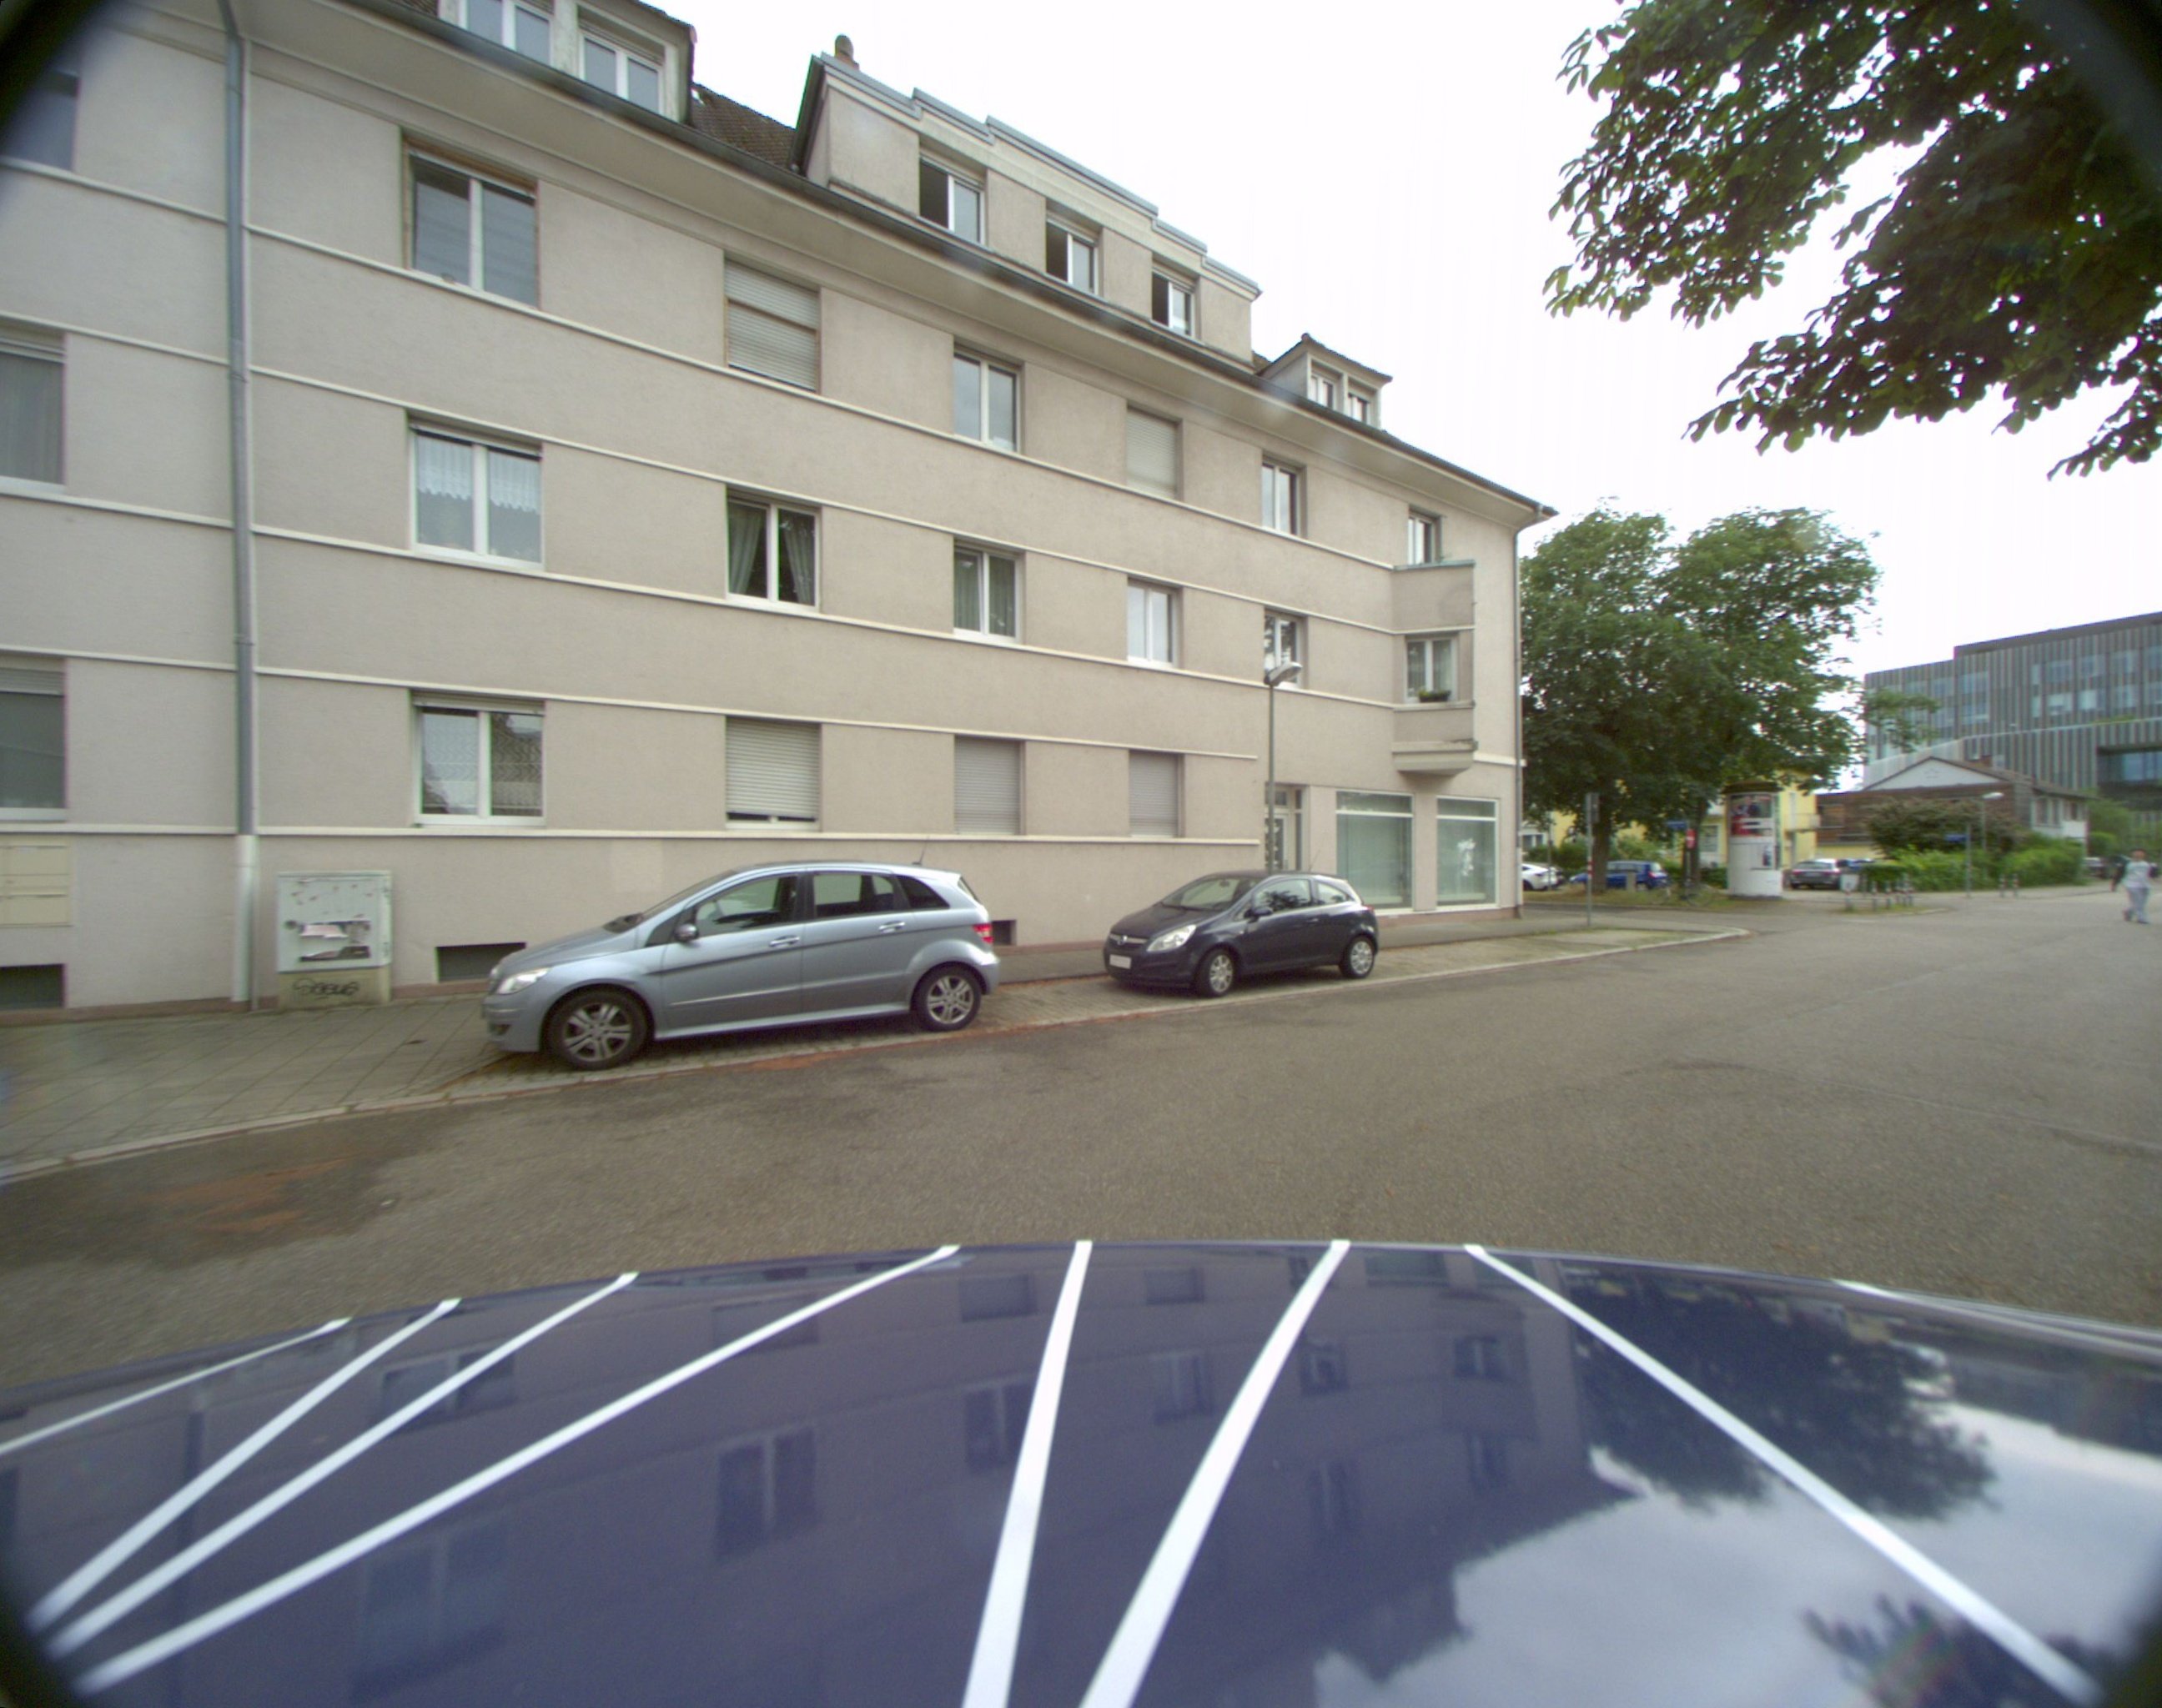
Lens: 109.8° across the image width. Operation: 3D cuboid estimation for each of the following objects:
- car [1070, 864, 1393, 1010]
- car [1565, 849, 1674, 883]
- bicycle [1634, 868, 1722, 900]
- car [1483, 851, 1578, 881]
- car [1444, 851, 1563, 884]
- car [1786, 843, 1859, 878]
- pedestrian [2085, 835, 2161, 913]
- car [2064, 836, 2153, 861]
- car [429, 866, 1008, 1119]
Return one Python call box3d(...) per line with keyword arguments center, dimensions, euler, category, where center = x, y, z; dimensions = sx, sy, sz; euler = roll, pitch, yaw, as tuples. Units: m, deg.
box3d(center=(2.020, 0.916, 9.928), dimensions=(3.943, 1.481, 1.758), euler=(-1, 0, -30), category="car")
box3d(center=(27.365, 0.586, 38.728), dimensions=(1.708, 1.557, 4.200), euler=(-2, 1, -32), category="car")
box3d(center=(19.472, 0.954, 24.837), dimensions=(0.513, 0.980, 2.177), euler=(-4, 1, -38), category="bicycle")
box3d(center=(25.094, 0.668, 42.540), dimensions=(1.722, 1.491, 4.156), euler=(-4, 1, -36), category="car")
box3d(center=(21.203, 0.661, 38.303), dimensions=(1.906, 1.557, 4.871), euler=(-1, 0, -36), category="car")
box3d(center=(36.042, 0.306, 36.902), dimensions=(4.007, 1.601, 1.838), euler=(0, 0, -35), category="car")
box3d(center=(25.448, 0.470, 18.414), dimensions=(0.876, 1.825, 1.221), euler=(0, 0, 26), category="pedestrian")
box3d(center=(81.164, -0.430, 60.071), dimensions=(2.003, 1.827, 3.991), euler=(-3, 1, -29), category="car")
box3d(center=(-2.968, 0.976, 6.939), dimensions=(4.206, 1.618, 1.759), euler=(-1, 0, -28), category="car")
